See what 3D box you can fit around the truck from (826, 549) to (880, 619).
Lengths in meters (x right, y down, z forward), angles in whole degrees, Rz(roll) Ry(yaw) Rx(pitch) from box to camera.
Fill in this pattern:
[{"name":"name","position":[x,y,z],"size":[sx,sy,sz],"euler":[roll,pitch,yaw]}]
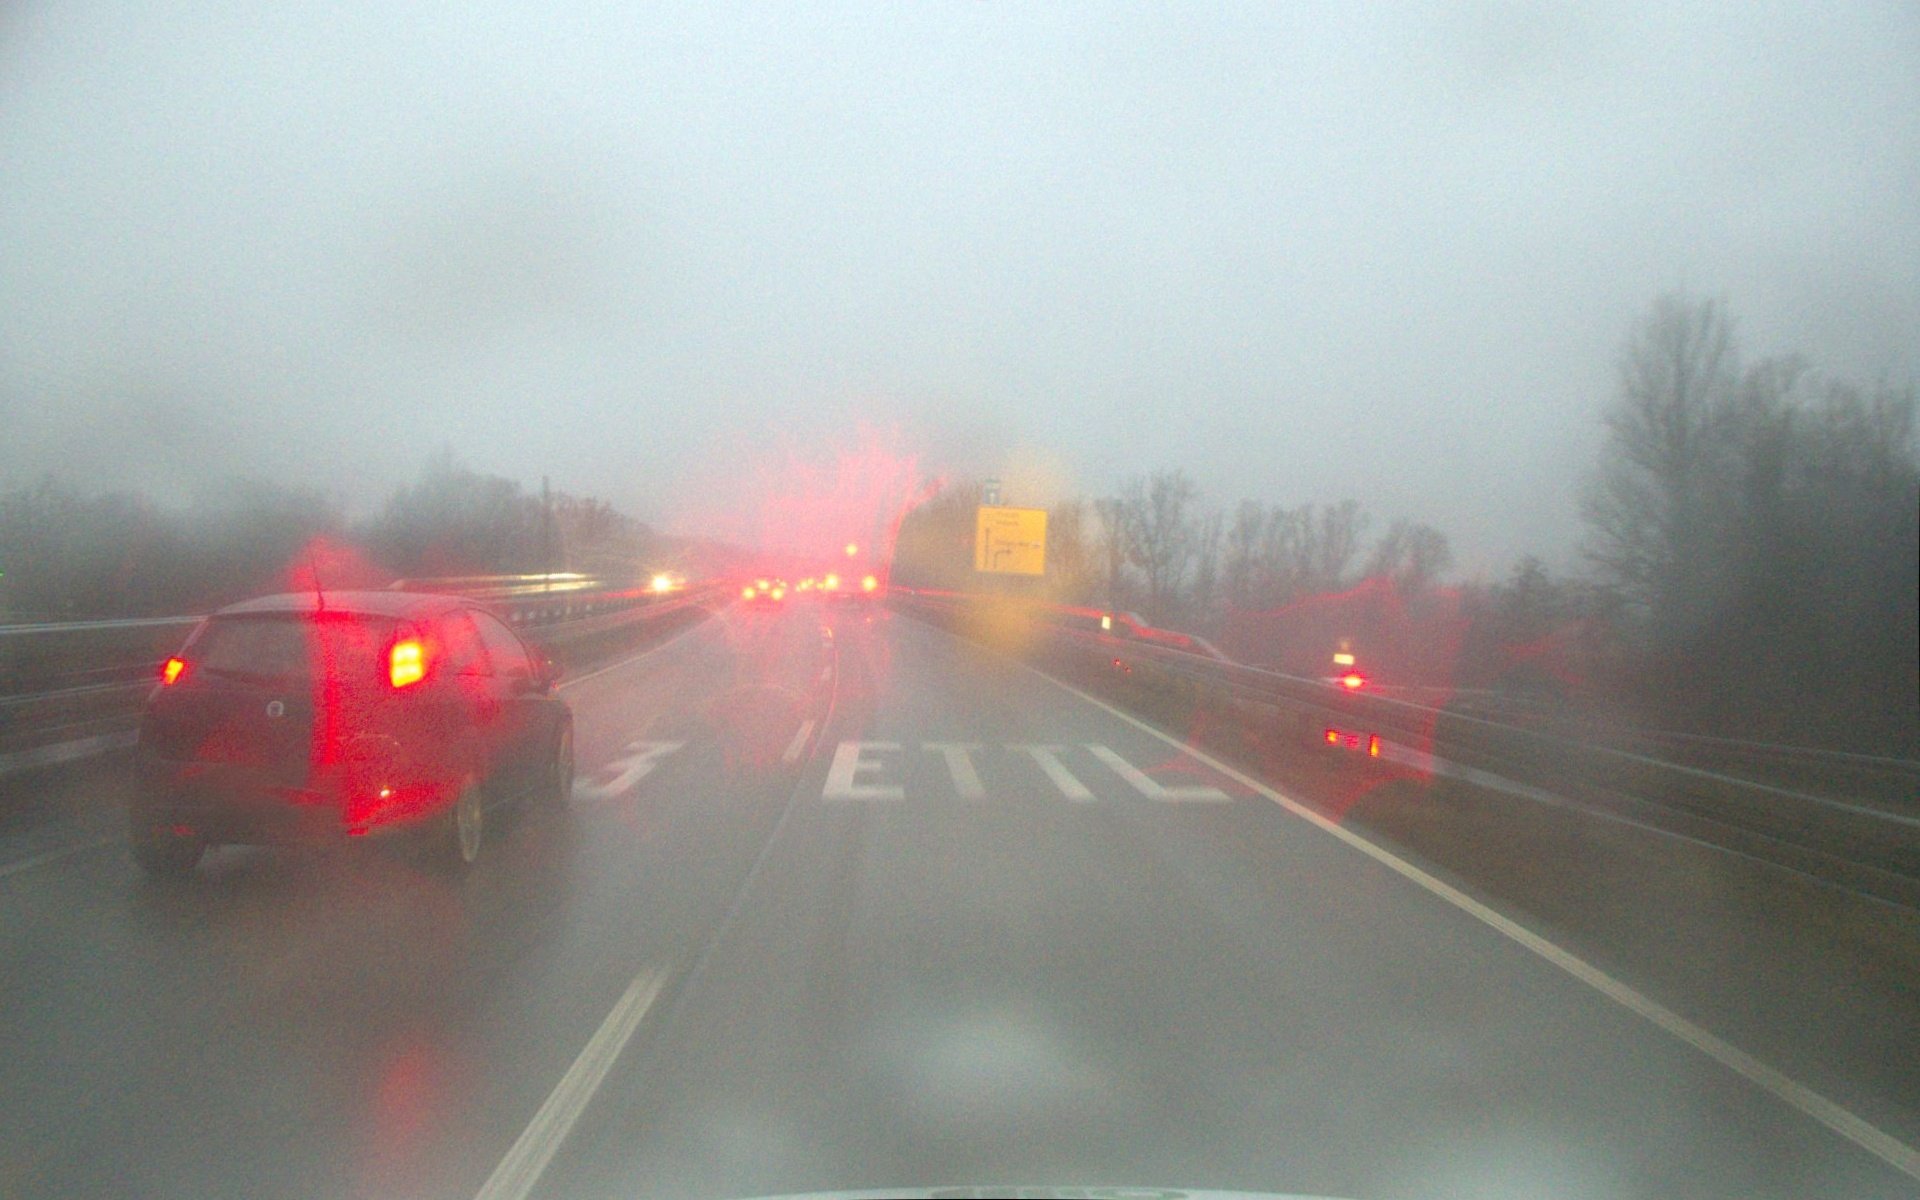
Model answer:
[{"name":"truck","position":[-5.087,-0.710,77.946],"size":[2.337,2.960,4.667],"euler":[1,-3,-6]}]

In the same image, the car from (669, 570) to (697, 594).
[{"name":"car","position":[-17.794,-1.123,106.095],"size":[1.649,1.430,4.493],"euler":[1,-1,-11]}]

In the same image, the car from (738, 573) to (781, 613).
[{"name":"car","position":[-9.124,-0.295,75.455],"size":[1.799,1.564,3.994],"euler":[2,-3,-6]}]

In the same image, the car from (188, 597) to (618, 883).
[{"name":"car","position":[-3.211,0.704,10.333],"size":[1.594,1.416,3.996],"euler":[1,0,-5]}]

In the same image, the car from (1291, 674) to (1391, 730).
[{"name":"car","position":[11.550,3.087,50.394],"size":[1.645,1.303,3.995],"euler":[7,-1,-6]}]
